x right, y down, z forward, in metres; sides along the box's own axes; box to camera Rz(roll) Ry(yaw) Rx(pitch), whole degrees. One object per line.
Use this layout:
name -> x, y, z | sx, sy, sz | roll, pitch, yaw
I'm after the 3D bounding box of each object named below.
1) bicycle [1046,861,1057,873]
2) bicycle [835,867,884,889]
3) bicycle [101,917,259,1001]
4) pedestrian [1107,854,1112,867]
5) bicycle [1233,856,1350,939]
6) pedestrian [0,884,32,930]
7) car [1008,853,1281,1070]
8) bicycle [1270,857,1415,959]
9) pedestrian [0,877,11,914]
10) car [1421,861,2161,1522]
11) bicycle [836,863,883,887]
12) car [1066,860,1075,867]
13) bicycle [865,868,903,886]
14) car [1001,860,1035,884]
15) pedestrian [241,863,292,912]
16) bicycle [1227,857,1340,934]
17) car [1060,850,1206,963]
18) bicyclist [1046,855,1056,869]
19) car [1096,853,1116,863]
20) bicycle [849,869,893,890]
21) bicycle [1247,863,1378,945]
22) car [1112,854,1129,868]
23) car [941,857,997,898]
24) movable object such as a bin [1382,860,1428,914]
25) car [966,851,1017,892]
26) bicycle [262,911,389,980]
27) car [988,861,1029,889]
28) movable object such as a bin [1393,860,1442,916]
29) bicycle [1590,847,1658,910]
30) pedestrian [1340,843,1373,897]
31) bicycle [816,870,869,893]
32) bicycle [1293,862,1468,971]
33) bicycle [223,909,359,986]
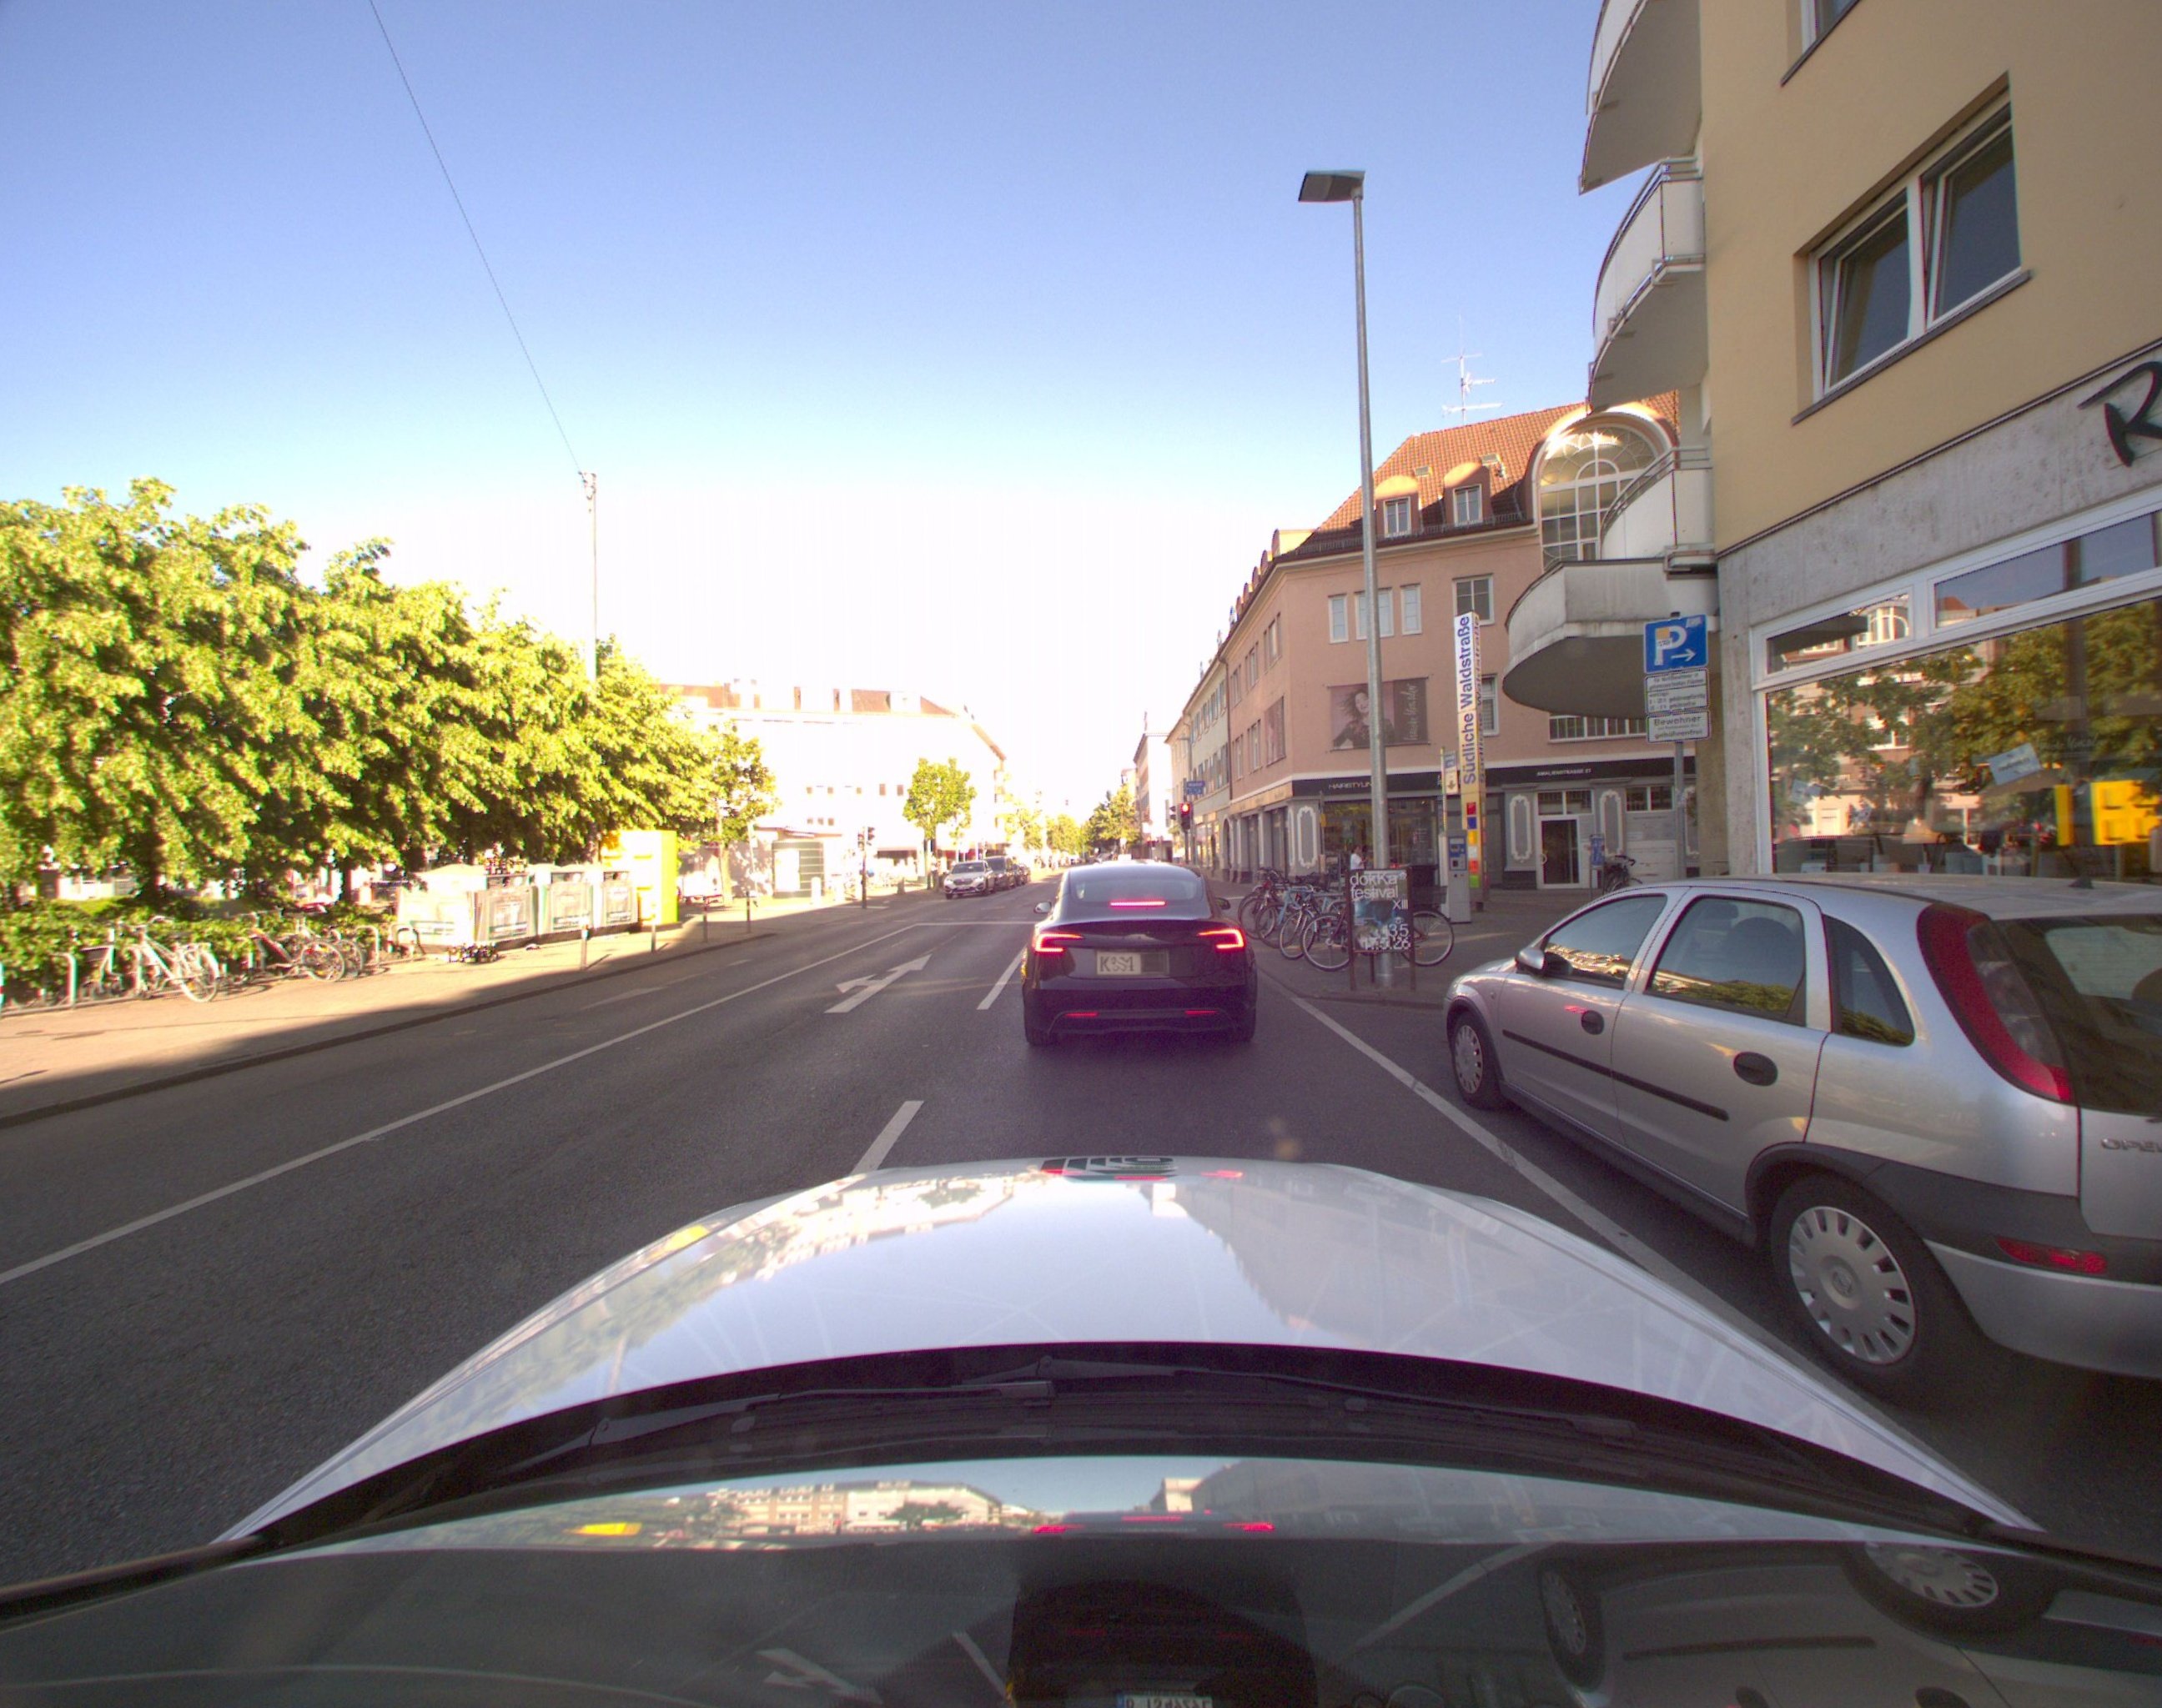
bicycle -> -3.480, 1.537, 95.806 | 1.108, 1.344, 3.998 | -1, 0, -1
bicycle -> -12.375, 1.362, 45.567 | 2.453, 1.156, 0.843 | -1, 0, 0
bicycle -> -11.453, 1.327, 10.368 | 1.590, 1.018, 0.430 | -1, 0, 3
pedestrian -> 4.231, 0.944, 119.581 | 0.639, 2.014, 0.690 | -1, -1, -2
bicycle -> 3.509, 0.712, 13.704 | 1.738, 1.267, 0.782 | -3, -1, 4
pedestrian -> -48.392, 2.377, 36.815 | 0.981, 2.014, 0.909 | -2, -1, 18
car -> 0.501, 0.758, 7.623 | 1.841, 1.455, 4.001 | -1, 0, 2
bicycle -> 3.544, 0.727, 11.171 | 1.713, 1.268, 0.792 | -3, -1, 7
pedestrian -> -61.343, 2.350, 45.848 | 1.272, 2.013, 0.908 | -1, 0, 13
car -> 2.972, 0.733, 3.541 | 1.607, 1.382, 3.645 | 0, 0, 2
bicycle -> -12.906, 1.241, 47.514 | 2.472, 1.324, 0.921 | -1, 0, -4
car -> -2.491, 2.151, 187.388 | 1.988, 1.637, 3.998 | -1, 0, -1
bicycle -> -13.016, 1.521, 53.949 | 2.318, 1.156, 0.841 | -1, 0, -4
car -> -4.393, 1.254, 57.295 | 1.988, 1.436, 4.672 | -5, 0, -1
pedestrian -> -34.256, 1.388, 34.261 | 1.388, 2.014, 0.908 | -1, 0, 14
bicycle -> 3.624, 0.741, 14.732 | 1.851, 1.258, 0.834 | -3, -1, 7
car -> 0.742, 0.732, 13.331 | 1.987, 1.512, 4.175 | -1, 0, 0
bicyclist -> -3.506, 0.922, 95.902 | 1.123, 1.628, 0.965 | -1, 0, -1
car -> 5.116, 0.840, 167.692 | 3.974, 2.013, 2.000 | -1, 0, 0
bicycle -> -12.949, 1.568, 50.273 | 2.528, 1.156, 0.841 | -1, 0, -4
bicycle -> 3.524, 0.755, 12.523 | 1.788, 1.124, 0.783 | -3, -1, 7
car -> 4.866, 0.844, 100.879 | 1.986, 1.629, 4.002 | -1, 0, 2
car -> -4.952, 0.991, 36.495 | 1.802, 1.555, 4.308 | -5, 0, -1
movable object such as a bin -> 6.754, 0.678, 16.999 | 0.730, 1.092, 0.628 | 0, -1, 3
car -> -4.637, 0.864, 42.878 | 1.827, 1.845, 4.677 | -5, 0, 2
bicycle -> -11.331, 1.372, 12.233 | 1.517, 0.958, 0.431 | -1, 1, 3
car -> -4.362, 1.230, 49.698 | 1.988, 1.410, 4.672 | -5, 0, -1
movable object such as a bin -> 6.745, 0.673, 16.361 | 0.749, 1.092, 0.628 | 0, -1, 3
bicycle -> 11.103, 0.479, 16.733 | 0.653, 1.199, 2.223 | -2, 0, 21
pedestrian -> 8.103, 0.466, 23.992 | 0.743, 1.552, 0.700 | -1, 0, 5
bicycle -> -12.581, 1.435, 43.037 | 2.497, 1.156, 0.843 | -1, 0, 0
bicycle -> 3.640, 0.753, 10.035 | 1.876, 1.193, 0.693 | -3, 0, 7
bicycle -> -11.317, 1.332, 11.687 | 1.561, 1.023, 0.430 | -1, 0, 3
